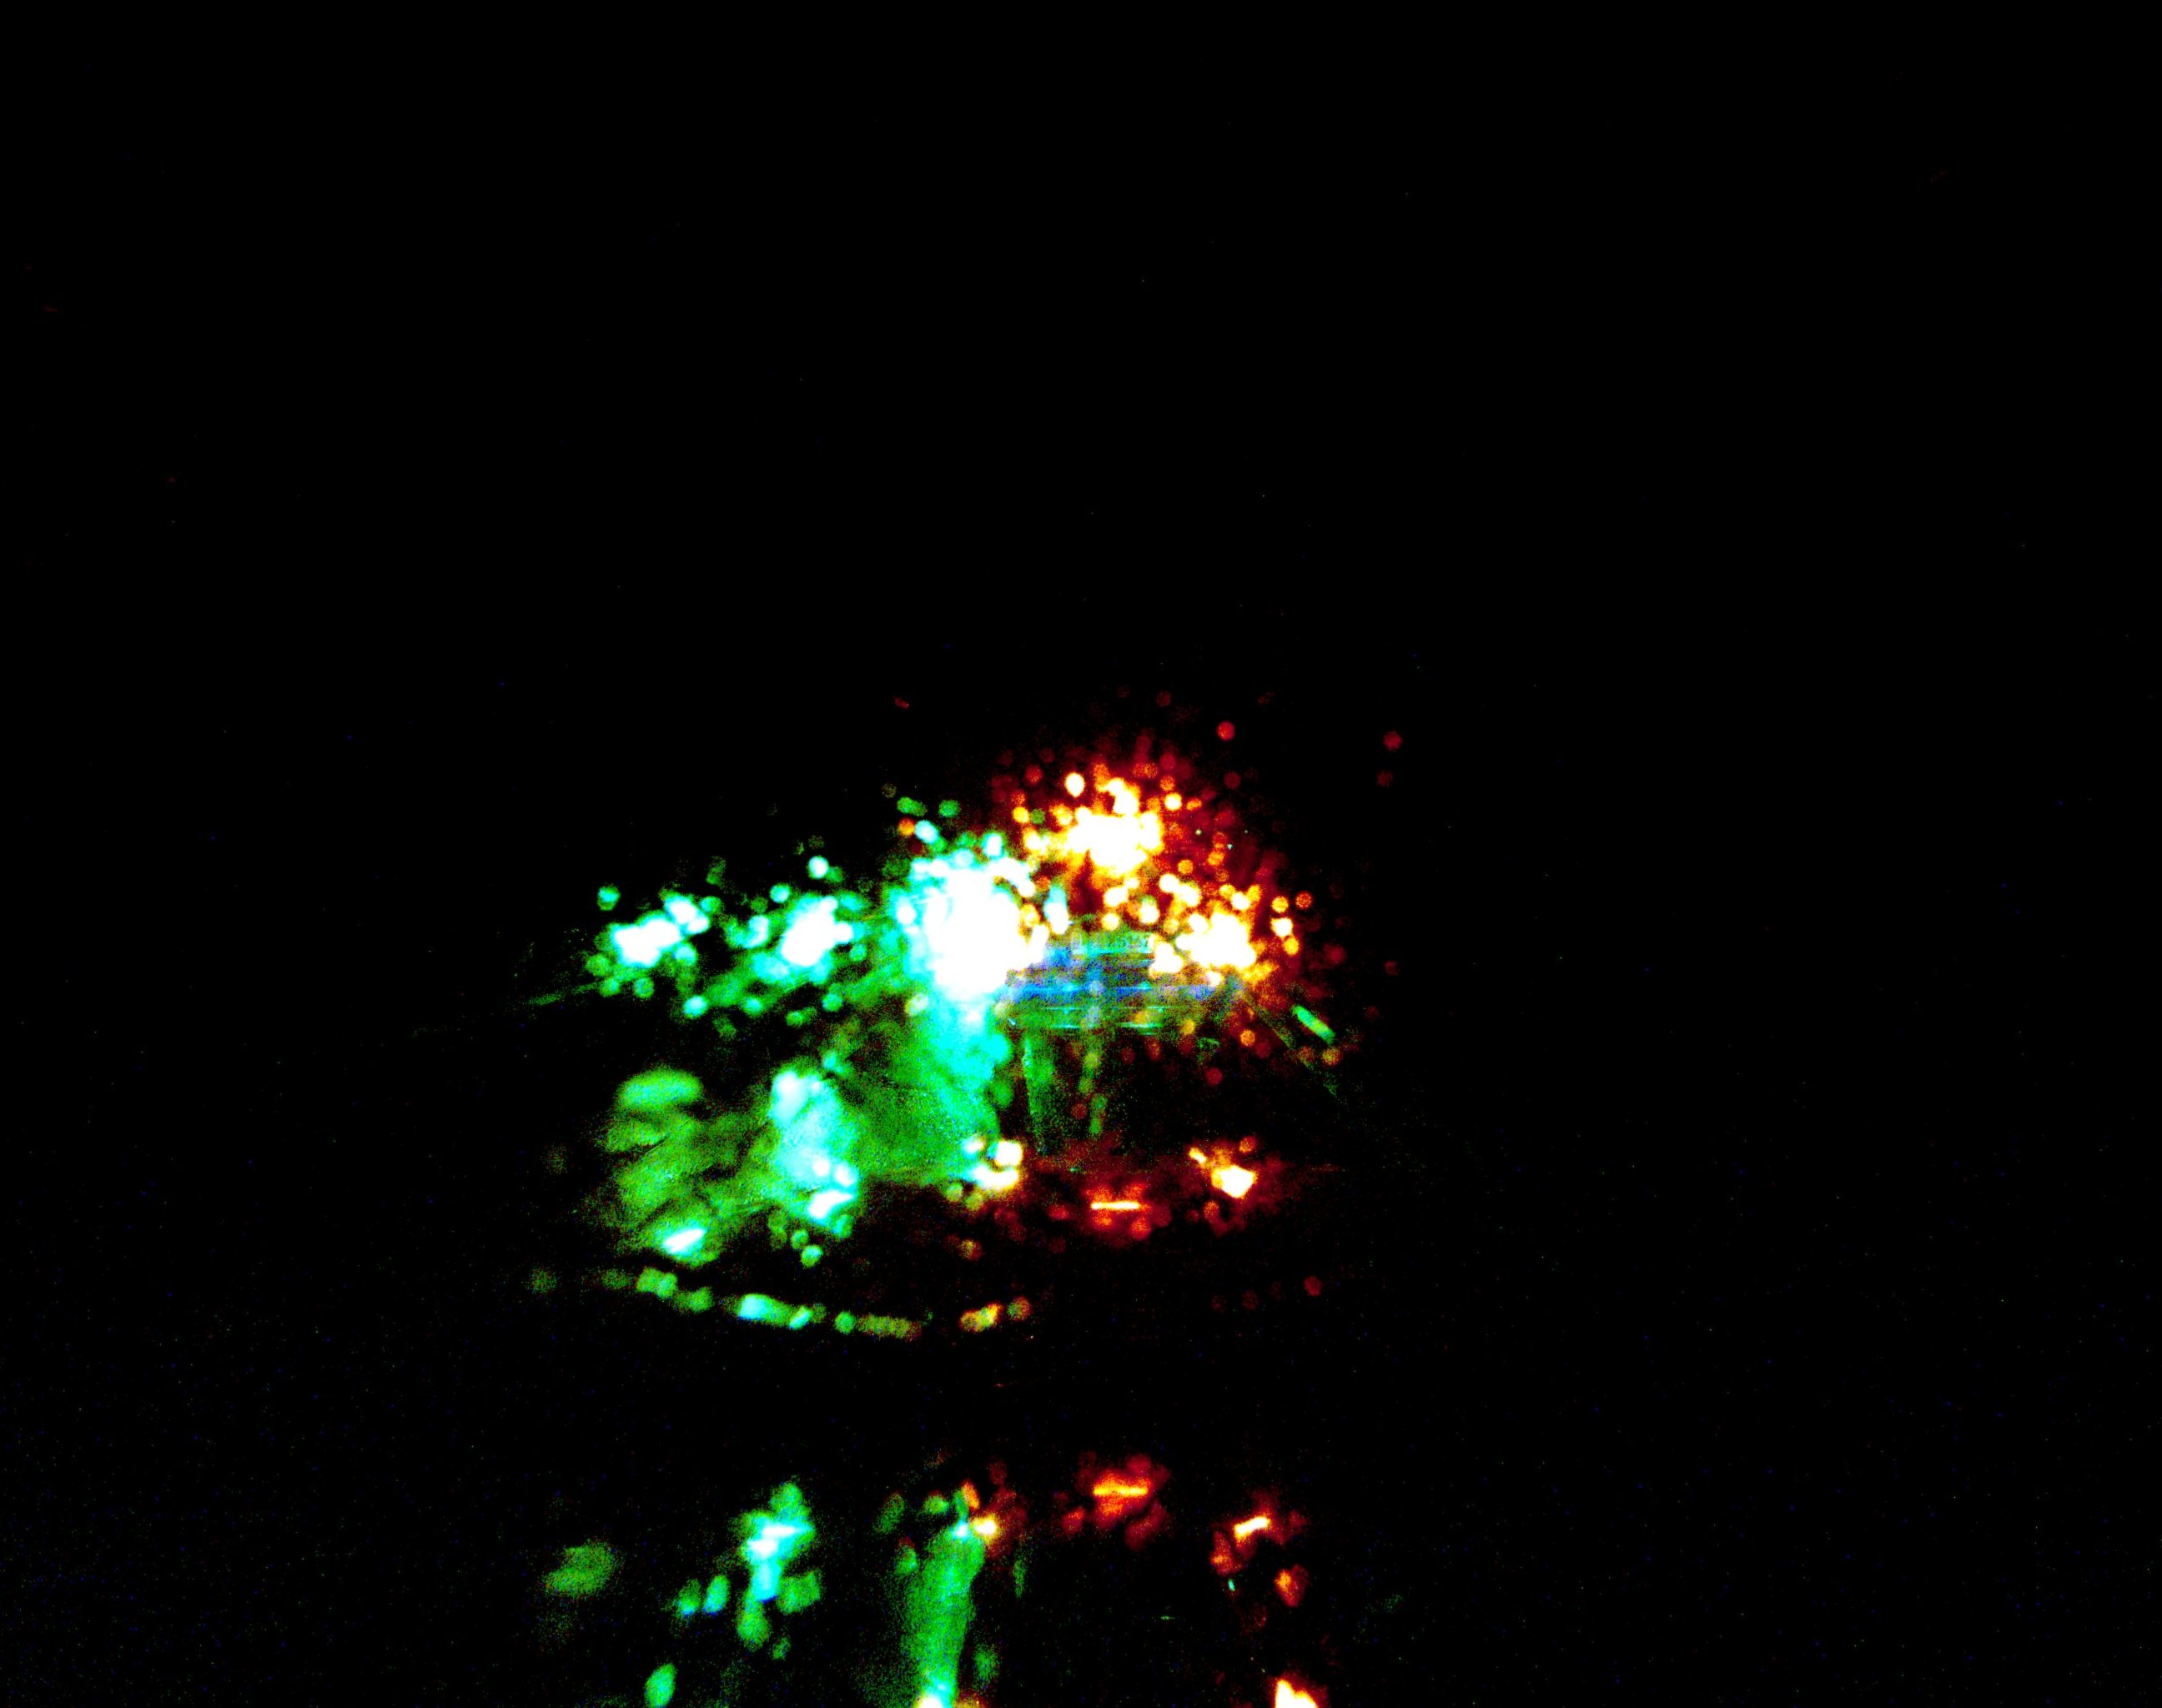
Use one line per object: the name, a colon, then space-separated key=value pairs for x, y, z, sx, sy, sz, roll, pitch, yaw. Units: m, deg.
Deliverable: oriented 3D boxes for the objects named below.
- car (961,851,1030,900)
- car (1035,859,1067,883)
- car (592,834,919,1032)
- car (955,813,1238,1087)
car: x=-2.867 y=0.671 z=28.114 sx=1.831 sy=1.546 sz=4.258 roll=0 pitch=0 yaw=1
car: x=-1.980 y=1.134 z=55.317 sx=1.897 sy=1.470 sz=4.275 roll=1 pitch=0 yaw=1
car: x=-3.249 y=0.683 z=9.171 sx=1.945 sy=1.656 sz=4.124 roll=-2 pitch=0 yaw=0
car: x=0.175 y=0.623 z=7.130 sx=1.768 sy=1.712 sz=4.002 roll=-1 pitch=-1 yaw=2
